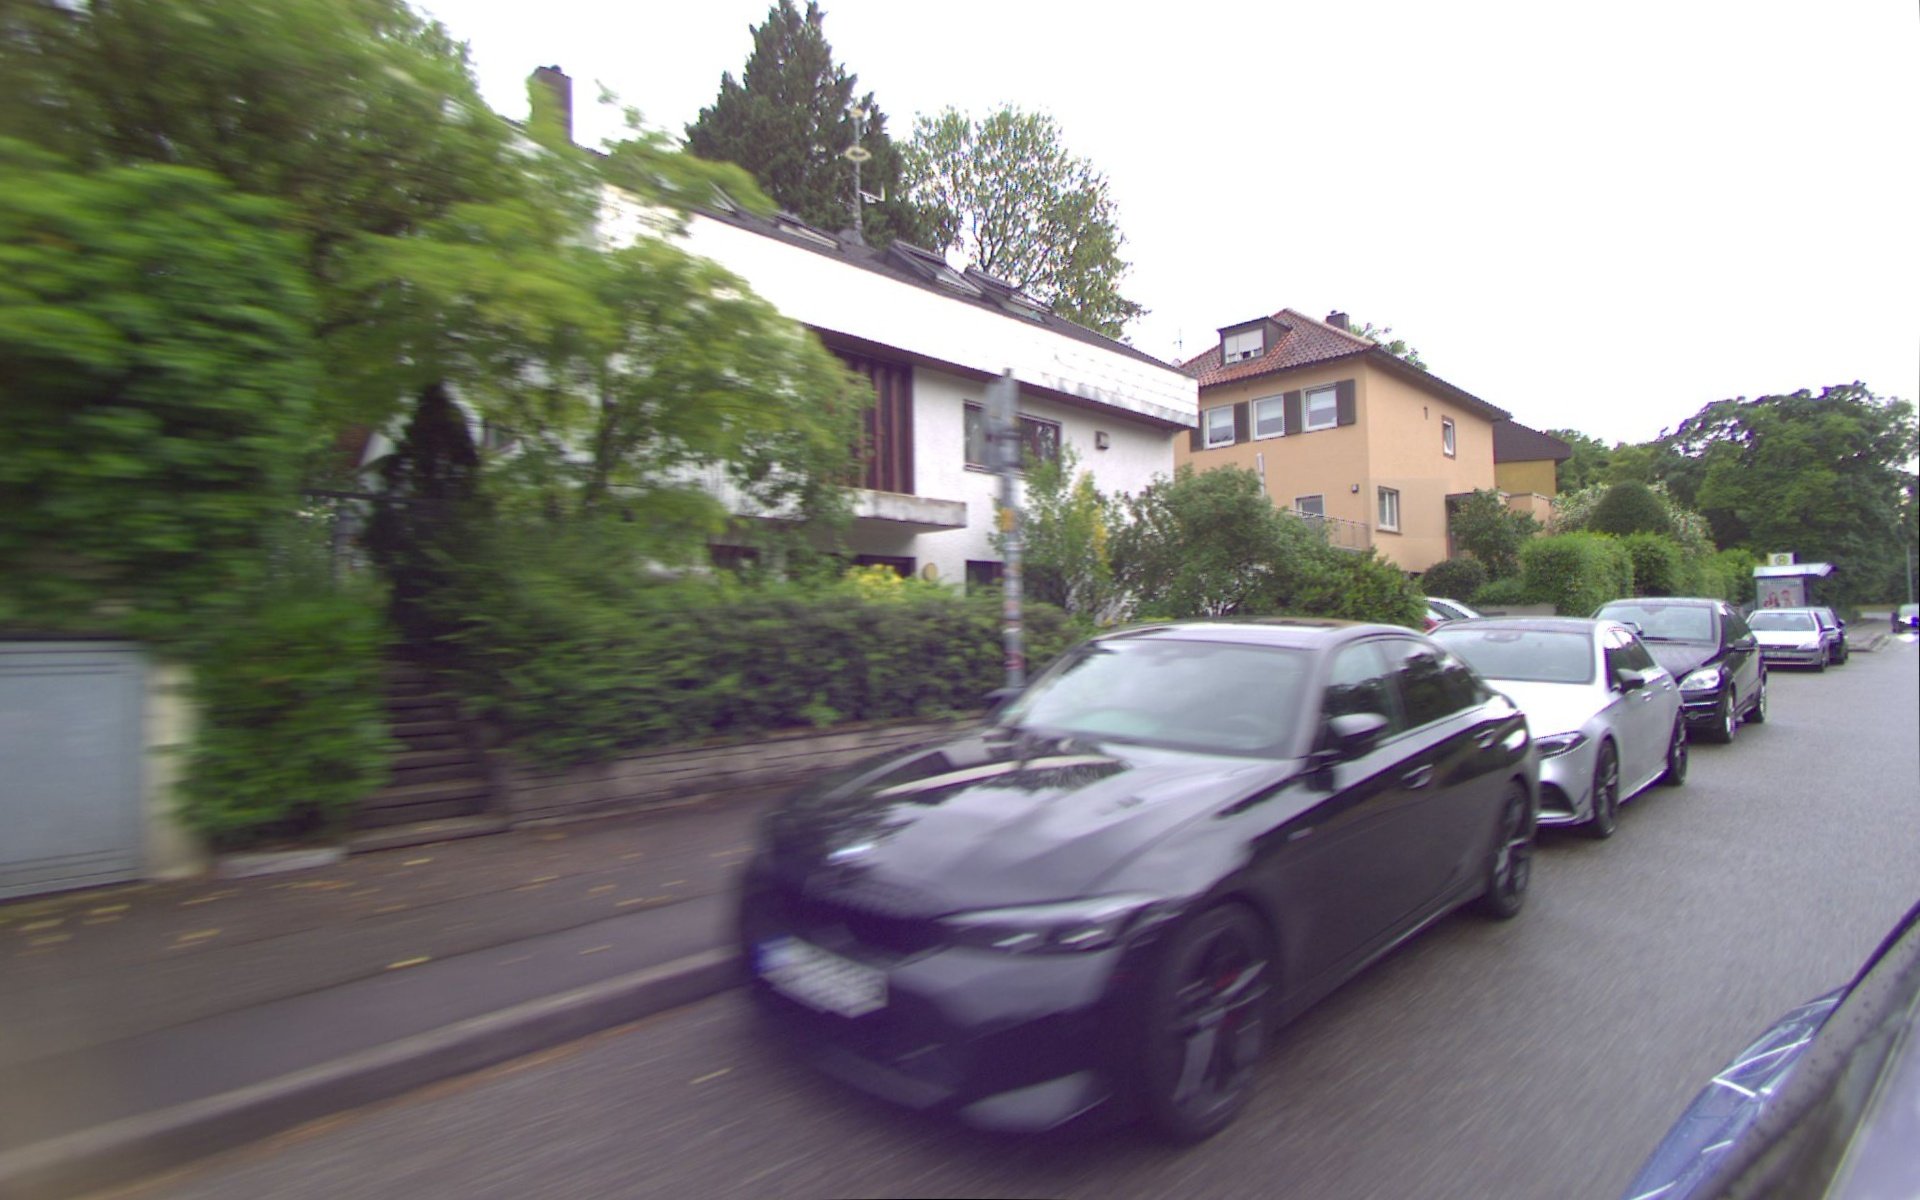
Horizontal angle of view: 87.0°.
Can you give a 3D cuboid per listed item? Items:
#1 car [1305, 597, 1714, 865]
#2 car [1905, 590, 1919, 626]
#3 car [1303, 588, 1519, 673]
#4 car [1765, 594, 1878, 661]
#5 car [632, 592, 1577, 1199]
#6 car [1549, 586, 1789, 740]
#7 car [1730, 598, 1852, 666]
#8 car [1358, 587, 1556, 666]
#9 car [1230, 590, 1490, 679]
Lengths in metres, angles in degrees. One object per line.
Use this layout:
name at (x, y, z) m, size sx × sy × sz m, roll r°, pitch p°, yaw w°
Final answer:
car at (4.657, 0.787, 8.223) m, size 1.793 × 1.505 × 4.425 m, roll -2°, pitch 0°, yaw 44°
car at (48.460, 0.355, 50.257) m, size 3.933 × 1.746 × 1.995 m, roll 0°, pitch -1°, yaw -43°
car at (9.168, 0.546, 20.734) m, size 3.659 × 1.586 × 1.852 m, roll 0°, pitch 1°, yaw 45°
car at (23.195, 0.684, 27.192) m, size 4.554 × 1.567 × 1.831 m, roll -2°, pitch 0°, yaw -44°
car at (1.096, 0.745, 4.441) m, size 1.752 × 1.461 × 4.527 m, roll -2°, pitch -1°, yaw 44°
car at (8.962, 0.658, 12.626) m, size 1.730 × 1.588 × 4.449 m, roll -1°, pitch -1°, yaw 45°
car at (19.901, 0.721, 24.185) m, size 4.036 × 1.416 × 1.813 m, roll -2°, pitch 0°, yaw -45°
car at (11.191, 0.542, 22.883) m, size 3.656 × 1.555 × 1.800 m, roll 2°, pitch 1°, yaw 43°
car at (7.584, 0.631, 19.441) m, size 1.852 × 1.479 × 4.245 m, roll -1°, pitch 0°, yaw -45°
